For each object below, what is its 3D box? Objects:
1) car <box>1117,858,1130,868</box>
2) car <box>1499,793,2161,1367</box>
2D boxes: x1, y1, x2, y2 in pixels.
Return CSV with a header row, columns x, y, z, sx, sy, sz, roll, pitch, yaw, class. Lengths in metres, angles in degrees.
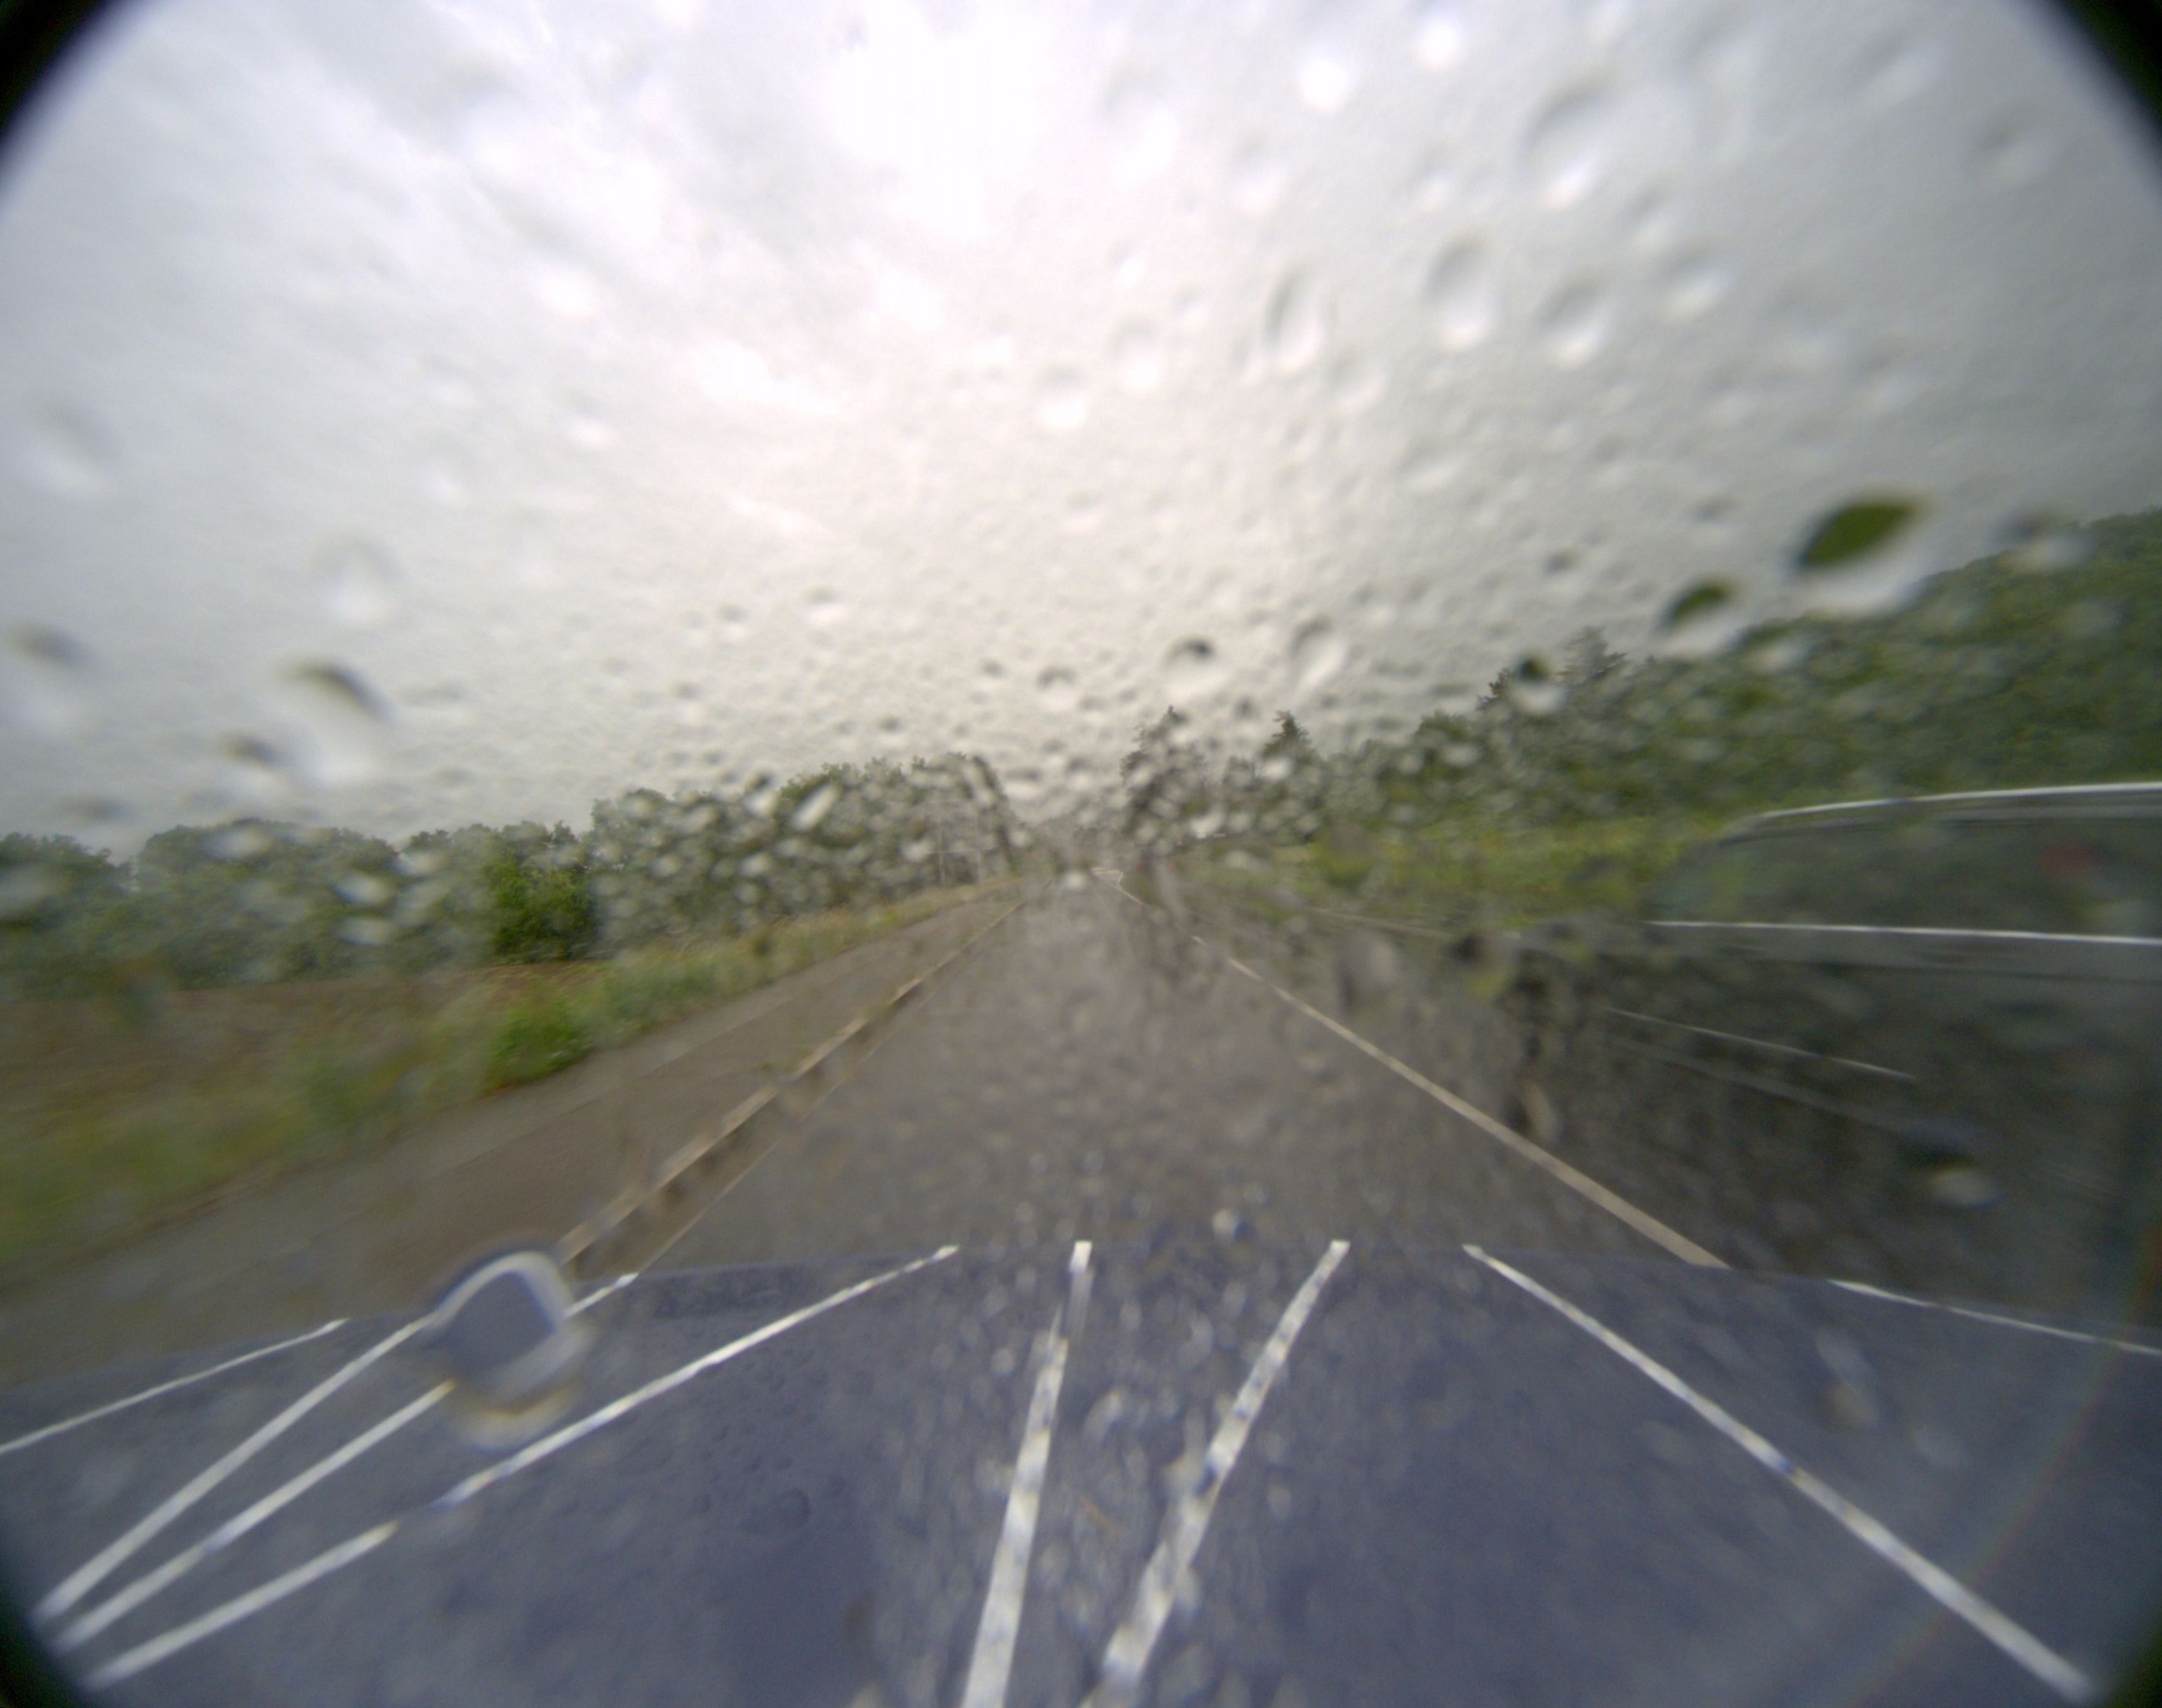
x,y,z,sx,sy,sz,roll,pitch,yaw,class
5.760,1.203,103.133,1.540,1.237,3.999,-2,0,0,car
3.983,0.631,3.362,1.746,1.694,4.221,-3,0,-3,car
